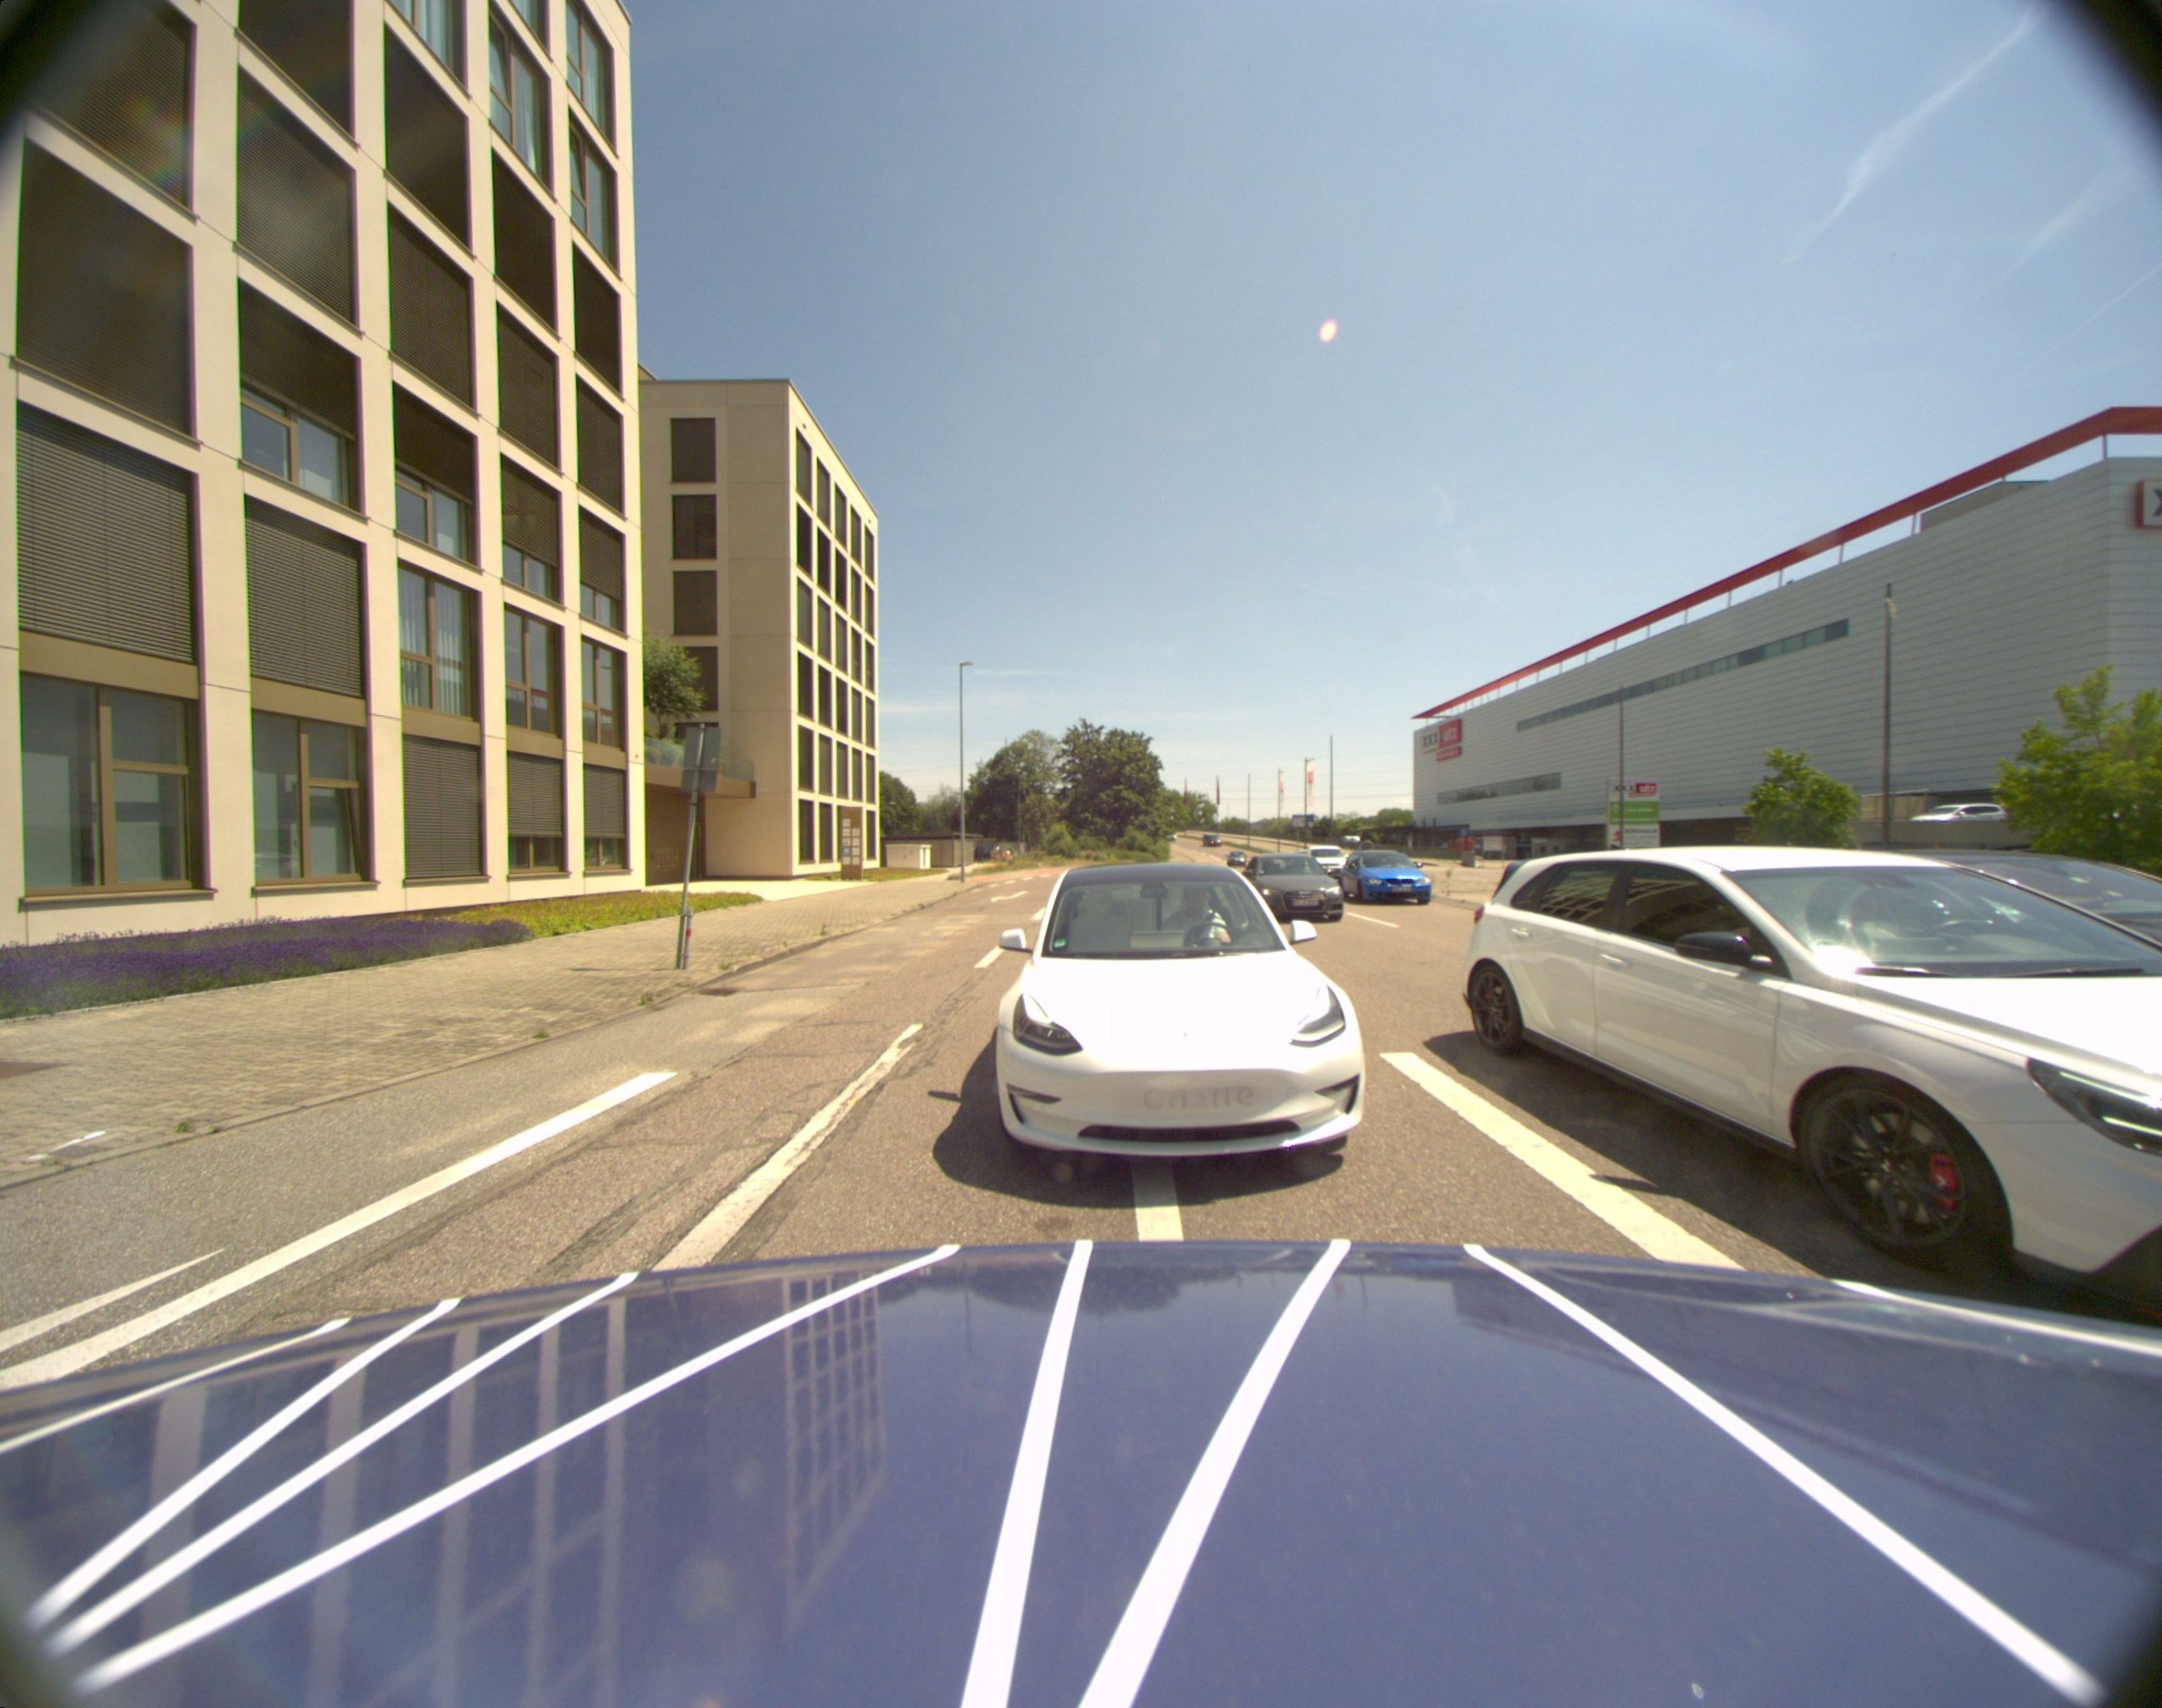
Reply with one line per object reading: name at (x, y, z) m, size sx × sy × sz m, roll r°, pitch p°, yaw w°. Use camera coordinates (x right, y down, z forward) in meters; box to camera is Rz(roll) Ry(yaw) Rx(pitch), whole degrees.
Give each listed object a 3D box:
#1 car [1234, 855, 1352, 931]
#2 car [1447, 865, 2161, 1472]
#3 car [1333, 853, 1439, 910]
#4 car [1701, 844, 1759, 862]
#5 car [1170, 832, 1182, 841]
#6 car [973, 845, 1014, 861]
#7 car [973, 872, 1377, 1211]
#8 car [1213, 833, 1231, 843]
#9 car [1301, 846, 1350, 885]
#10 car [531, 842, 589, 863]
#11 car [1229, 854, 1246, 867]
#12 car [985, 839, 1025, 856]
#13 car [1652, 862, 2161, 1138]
car at (4.503, 0.760, 16.772) m, size 1.801 × 1.369 × 4.408 m, roll -1°, pitch 1°, yaw 6°
car at (3.631, 0.831, 3.656) m, size 1.735 × 1.441 × 4.230 m, roll -1°, pitch 0°, yaw 1°
car at (8.449, 0.695, 21.447) m, size 1.800 × 1.405 × 4.409 m, roll 0°, pitch 1°, yaw 9°
car at (61.035, -0.103, 71.494) m, size 3.746 × 1.611 × 1.912 m, roll 0°, pitch 1°, yaw 1°
car at (18.215, -3.330, 145.561) m, size 1.798 × 1.454 × 3.998 m, roll -3°, pitch 3°, yaw 1°
car at (-9.441, -0.163, 82.094) m, size 4.005 × 1.652 × 1.834 m, roll 0°, pitch 1°, yaw -23°
car at (0.403, 0.939, 5.802) m, size 1.880 × 1.417 × 4.405 m, roll -2°, pitch 0°, yaw -1°
car at (22.927, -2.609, 123.516) m, size 1.999 × 1.347 × 4.365 m, roll -2°, pitch 3°, yaw -1°
car at (10.702, 0.462, 33.474) m, size 1.677 × 1.566 × 4.060 m, roll -1°, pitch 1°, yaw 13°
car at (-46.197, -0.168, 67.472) m, size 1.997 × 1.841 × 4.003 m, roll 0°, pitch 1°, yaw 10°
car at (14.104, 0.568, 68.557) m, size 1.473 × 1.182 × 3.356 m, roll 0°, pitch 0°, yaw 12°
car at (-8.602, -0.771, 86.100) m, size 4.005 × 1.942 × 1.996 m, roll 0°, pitch 1°, yaw -24°
car at (6.640, 0.790, 5.498) m, size 1.752 × 1.382 × 4.534 m, roll -1°, pitch 0°, yaw 3°
